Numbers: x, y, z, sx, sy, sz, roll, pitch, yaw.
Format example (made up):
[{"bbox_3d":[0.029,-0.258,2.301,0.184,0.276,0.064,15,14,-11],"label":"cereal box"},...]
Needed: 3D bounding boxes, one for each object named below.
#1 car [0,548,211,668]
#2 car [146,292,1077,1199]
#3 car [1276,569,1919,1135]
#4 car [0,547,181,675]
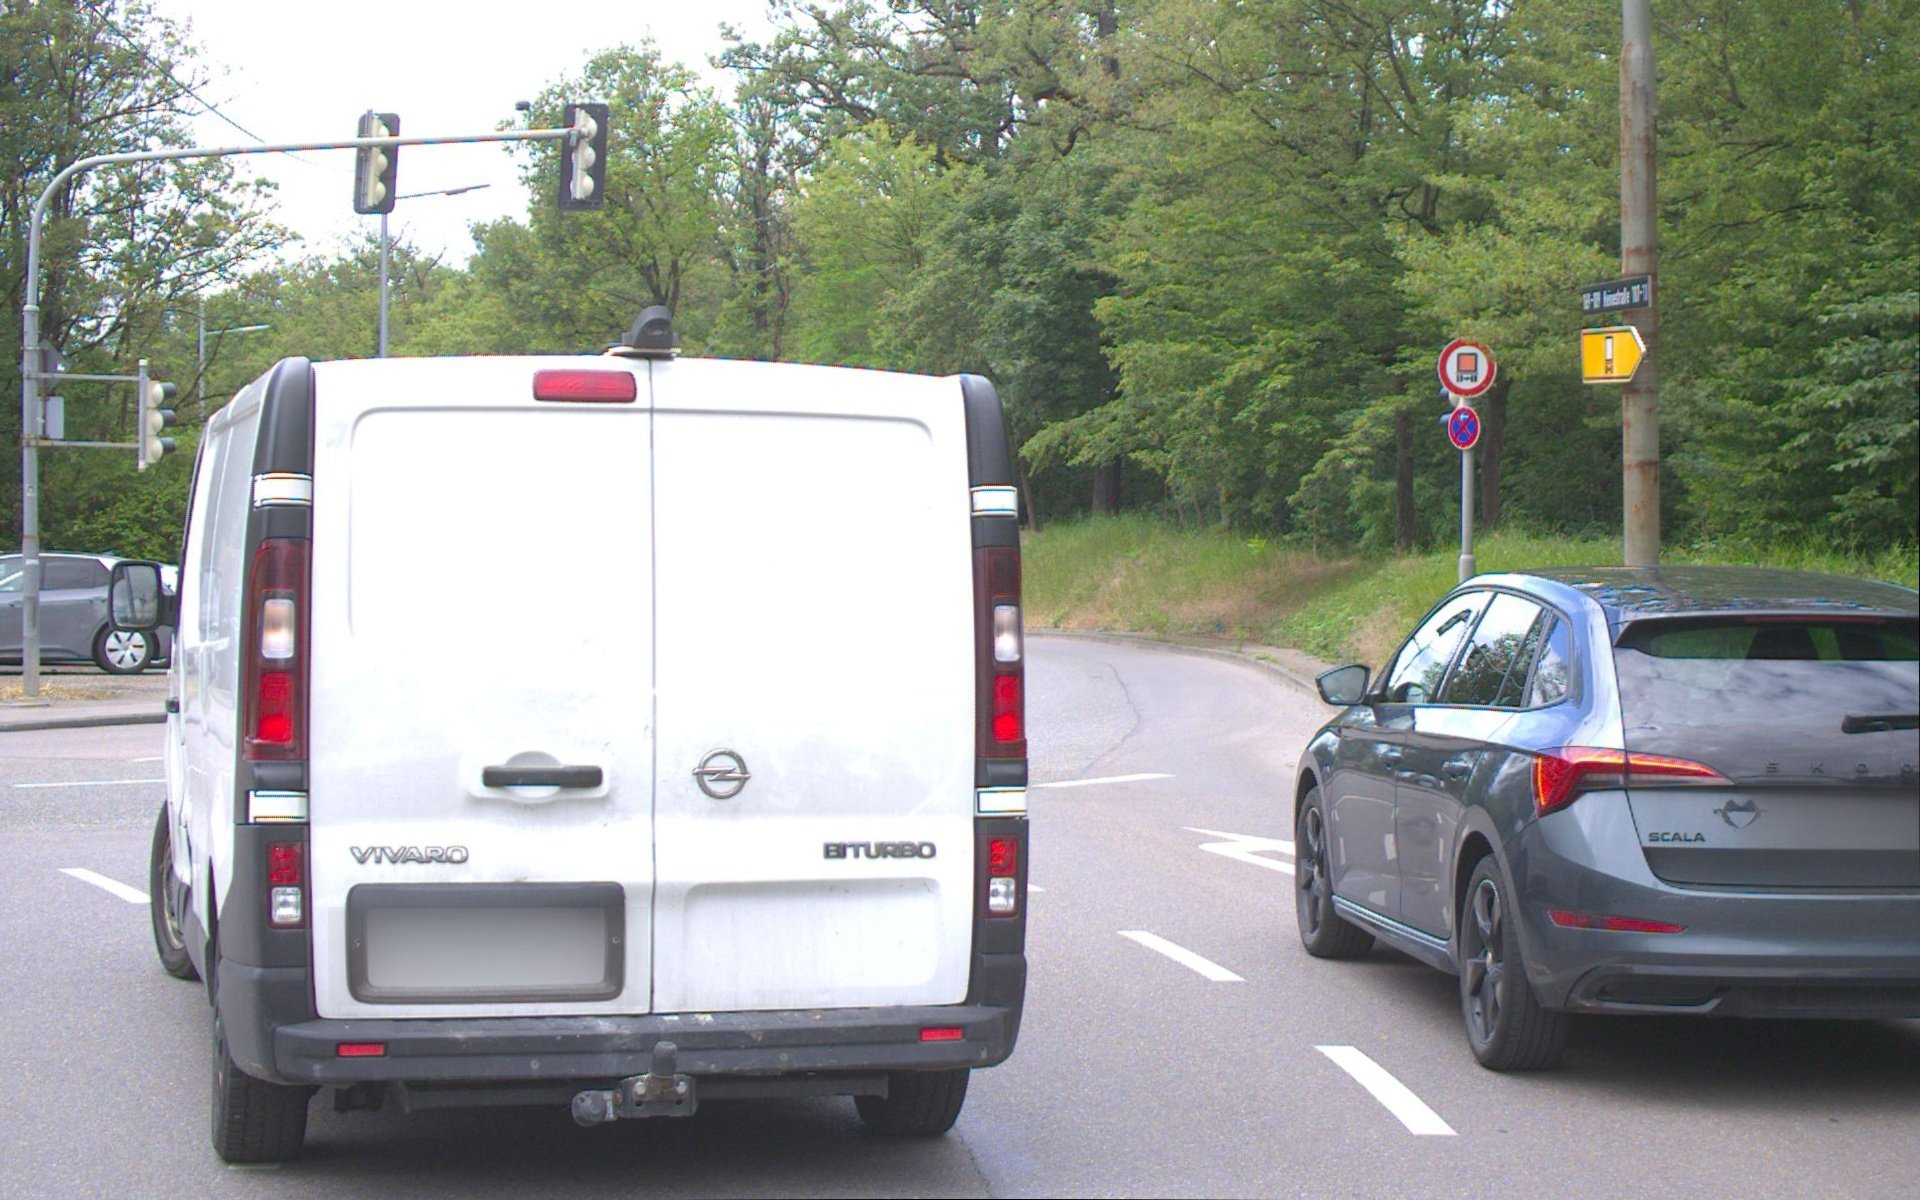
[{"bbox_3d":[-12.267,0.092,46.377,4.085,1.548,1.855,0,2,-17],"label":"car"},{"bbox_3d":[-1.262,0.318,9.792,1.916,2.046,4.616,0,1,-15],"label":"car"},{"bbox_3d":[2.251,0.650,11.059,1.792,1.445,4.001,0,1,-4],"label":"car"},{"bbox_3d":[-11.983,0.121,43.328,4.085,1.548,1.855,0,2,-17],"label":"car"}]
